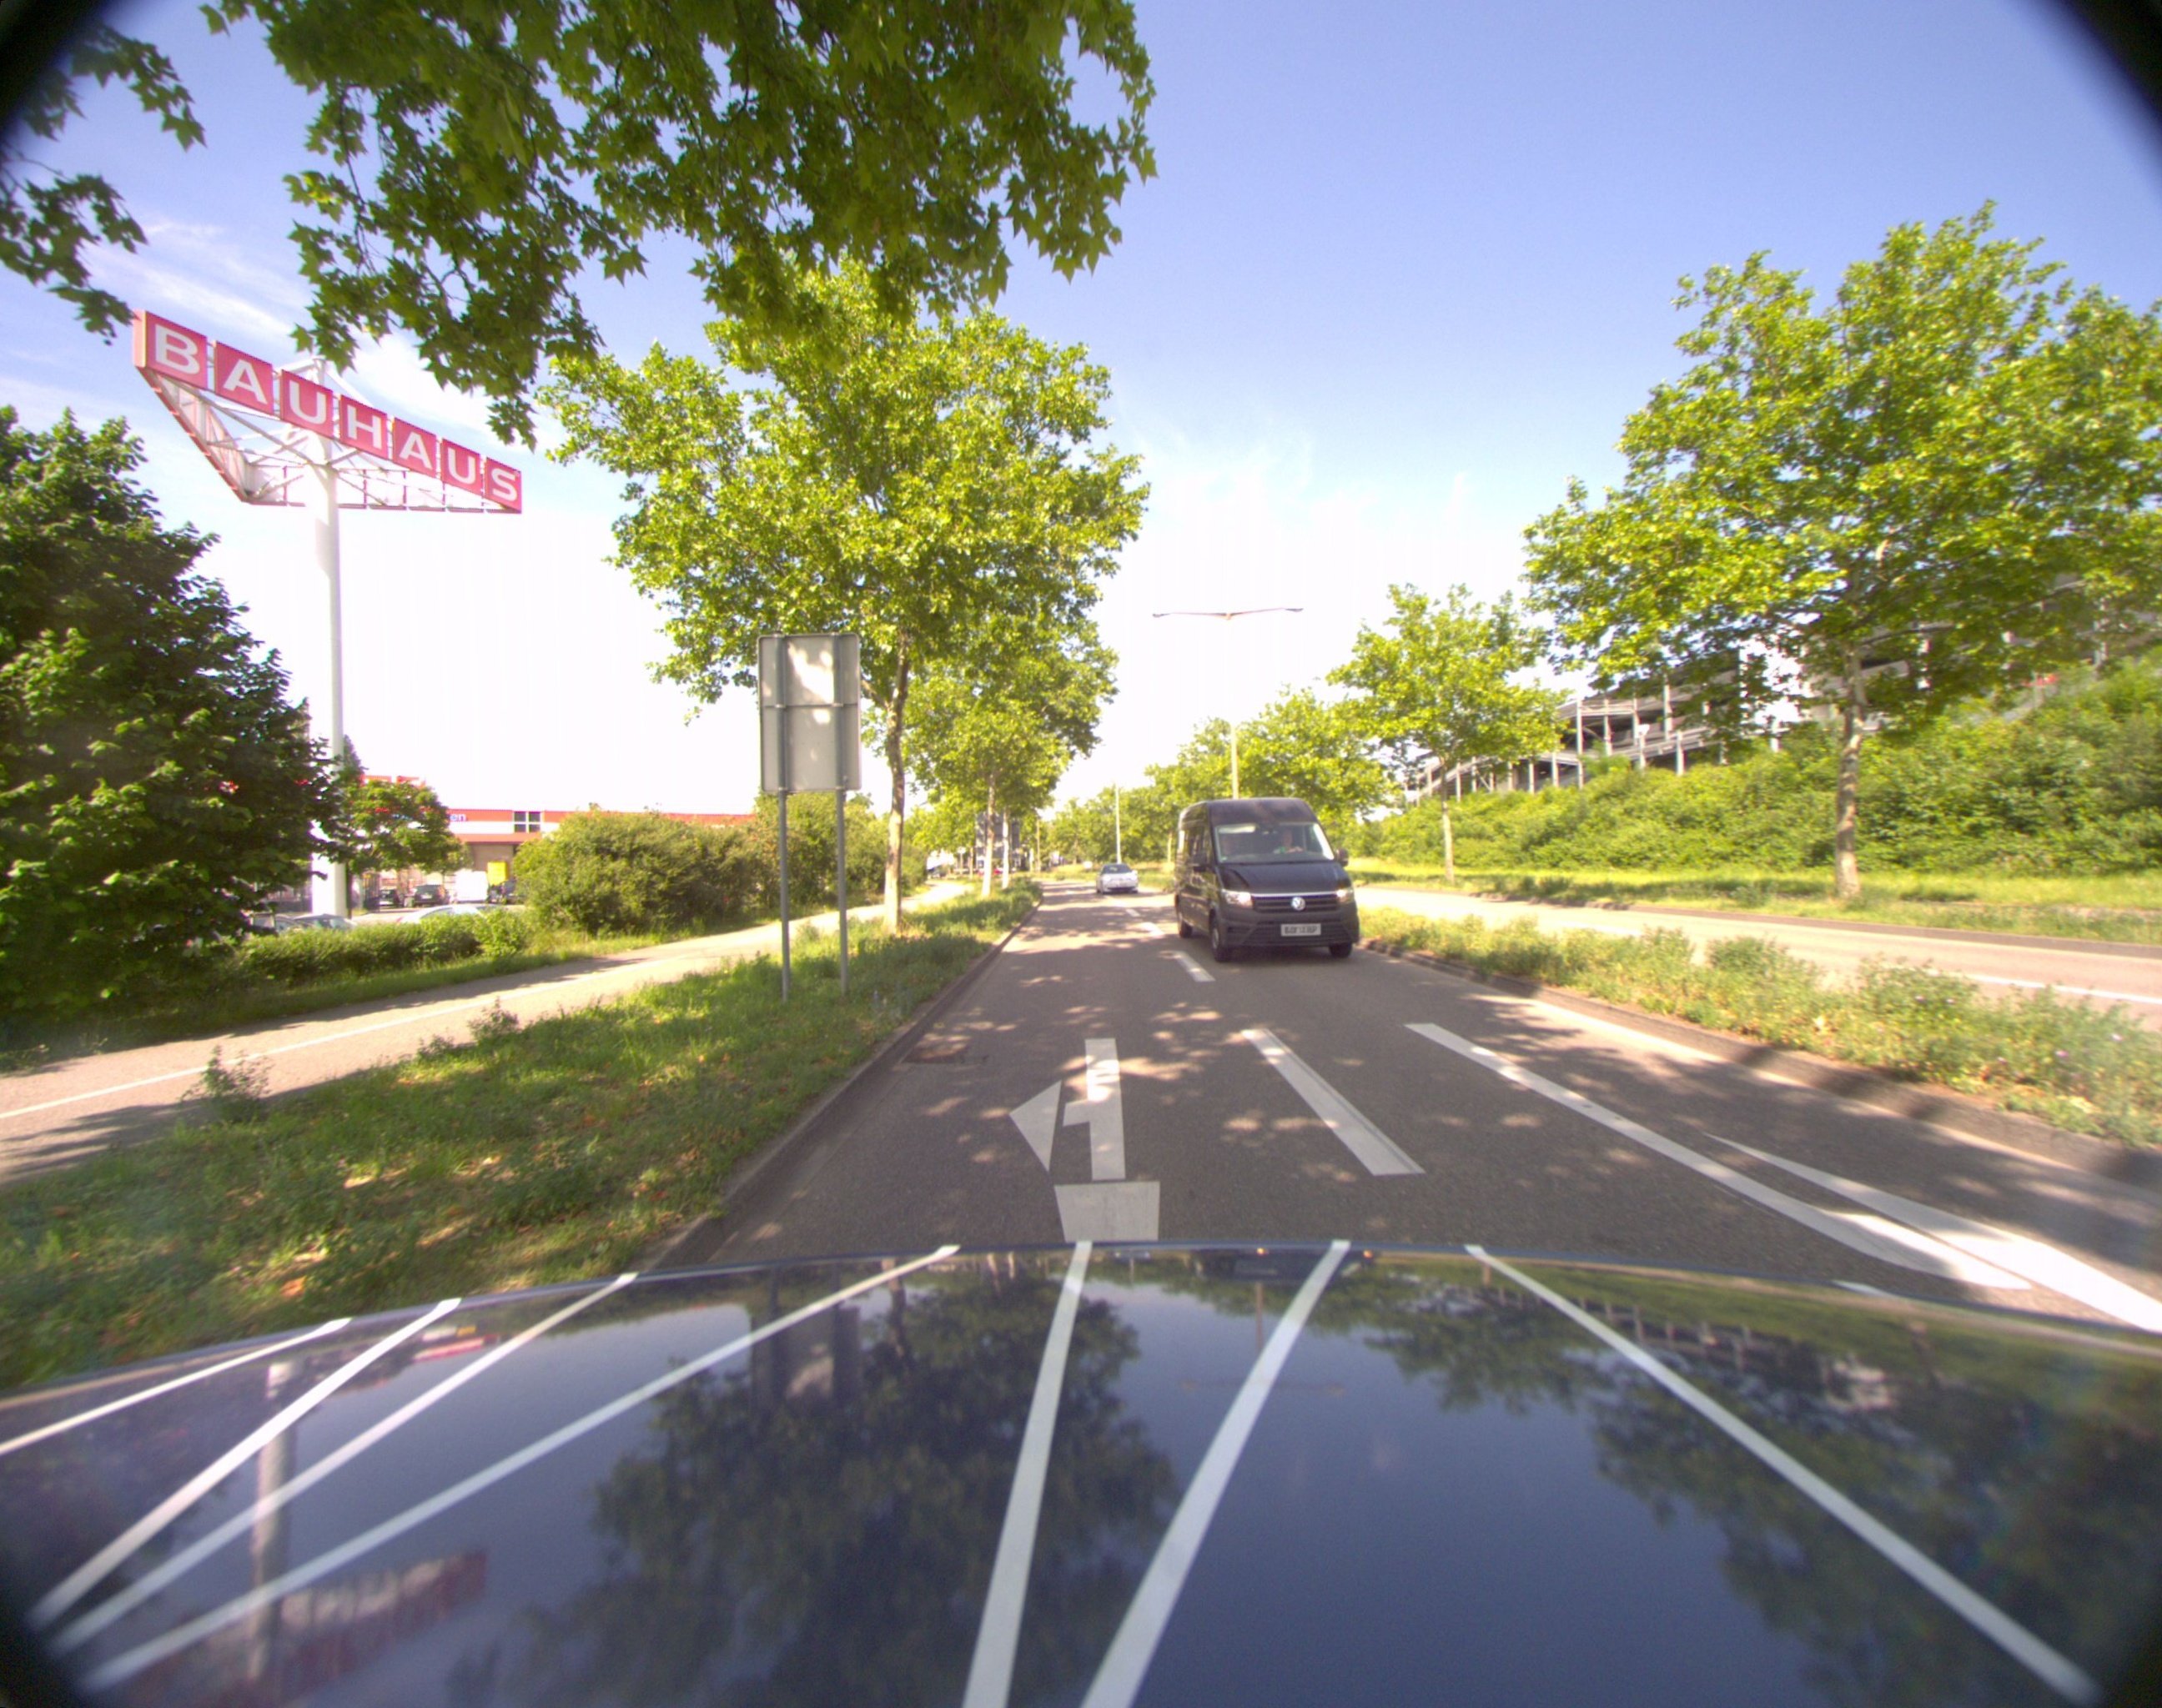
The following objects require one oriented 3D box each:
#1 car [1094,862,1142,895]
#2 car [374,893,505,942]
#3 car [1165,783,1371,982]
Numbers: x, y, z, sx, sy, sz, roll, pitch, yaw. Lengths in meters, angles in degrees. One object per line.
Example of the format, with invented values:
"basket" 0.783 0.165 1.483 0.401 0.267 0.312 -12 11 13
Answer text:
"car" 1.849 1.227 39.224 1.825 1.512 4.206 -2 0 -6
"car" -20.792 2.037 24.679 3.161 1.447 1.195 -1 0 -2
"car" 2.863 0.381 13.320 2.021 2.592 6.168 -3 0 0
